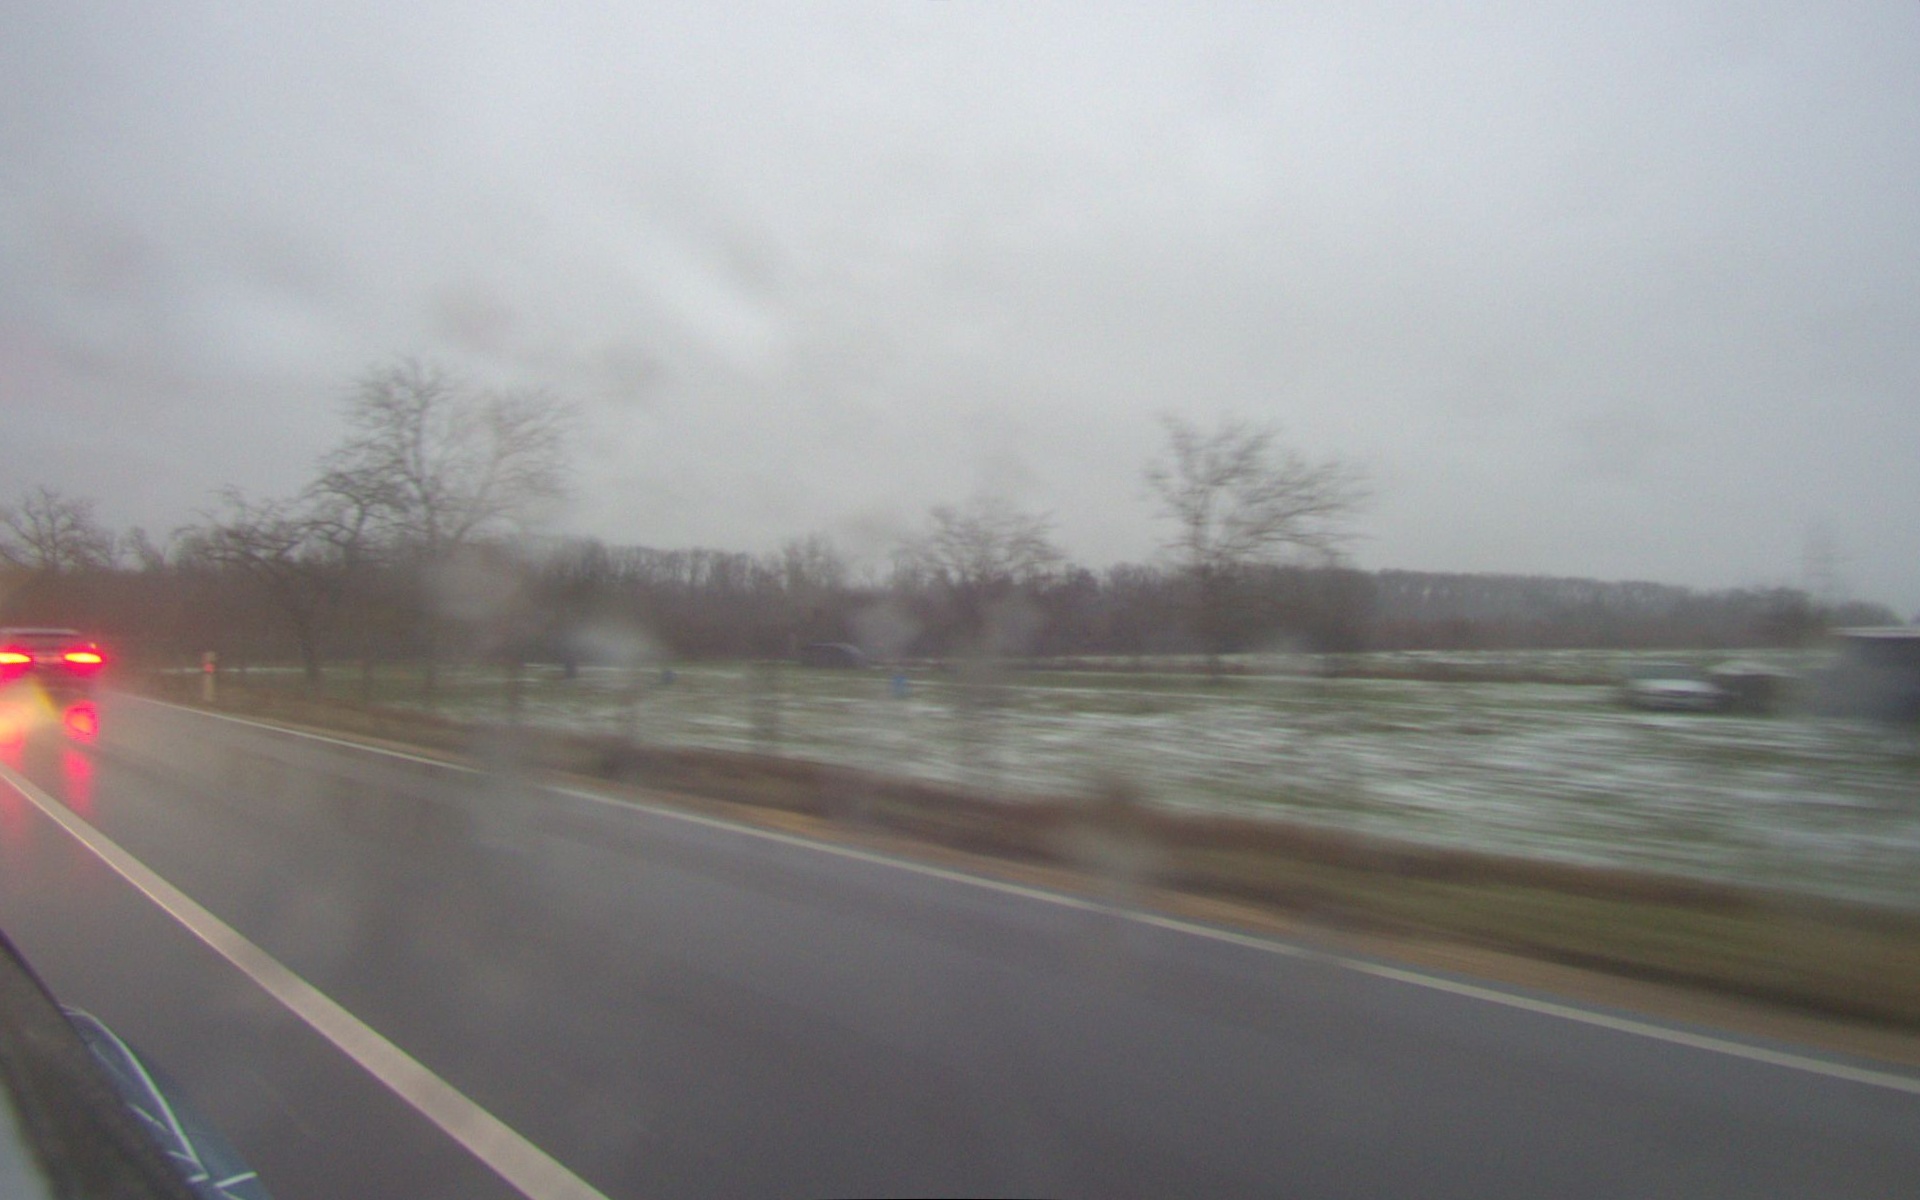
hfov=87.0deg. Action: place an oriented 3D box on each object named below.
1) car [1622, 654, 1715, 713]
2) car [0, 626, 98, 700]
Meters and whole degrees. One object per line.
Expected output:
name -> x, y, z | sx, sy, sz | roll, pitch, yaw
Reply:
car -> 19.576, 2.258, 28.094 | 1.591, 1.352, 3.421 | -1, 0, 27
car -> -21.188, 1.386, 22.811 | 4.511, 1.529, 1.837 | -2, -4, 39
